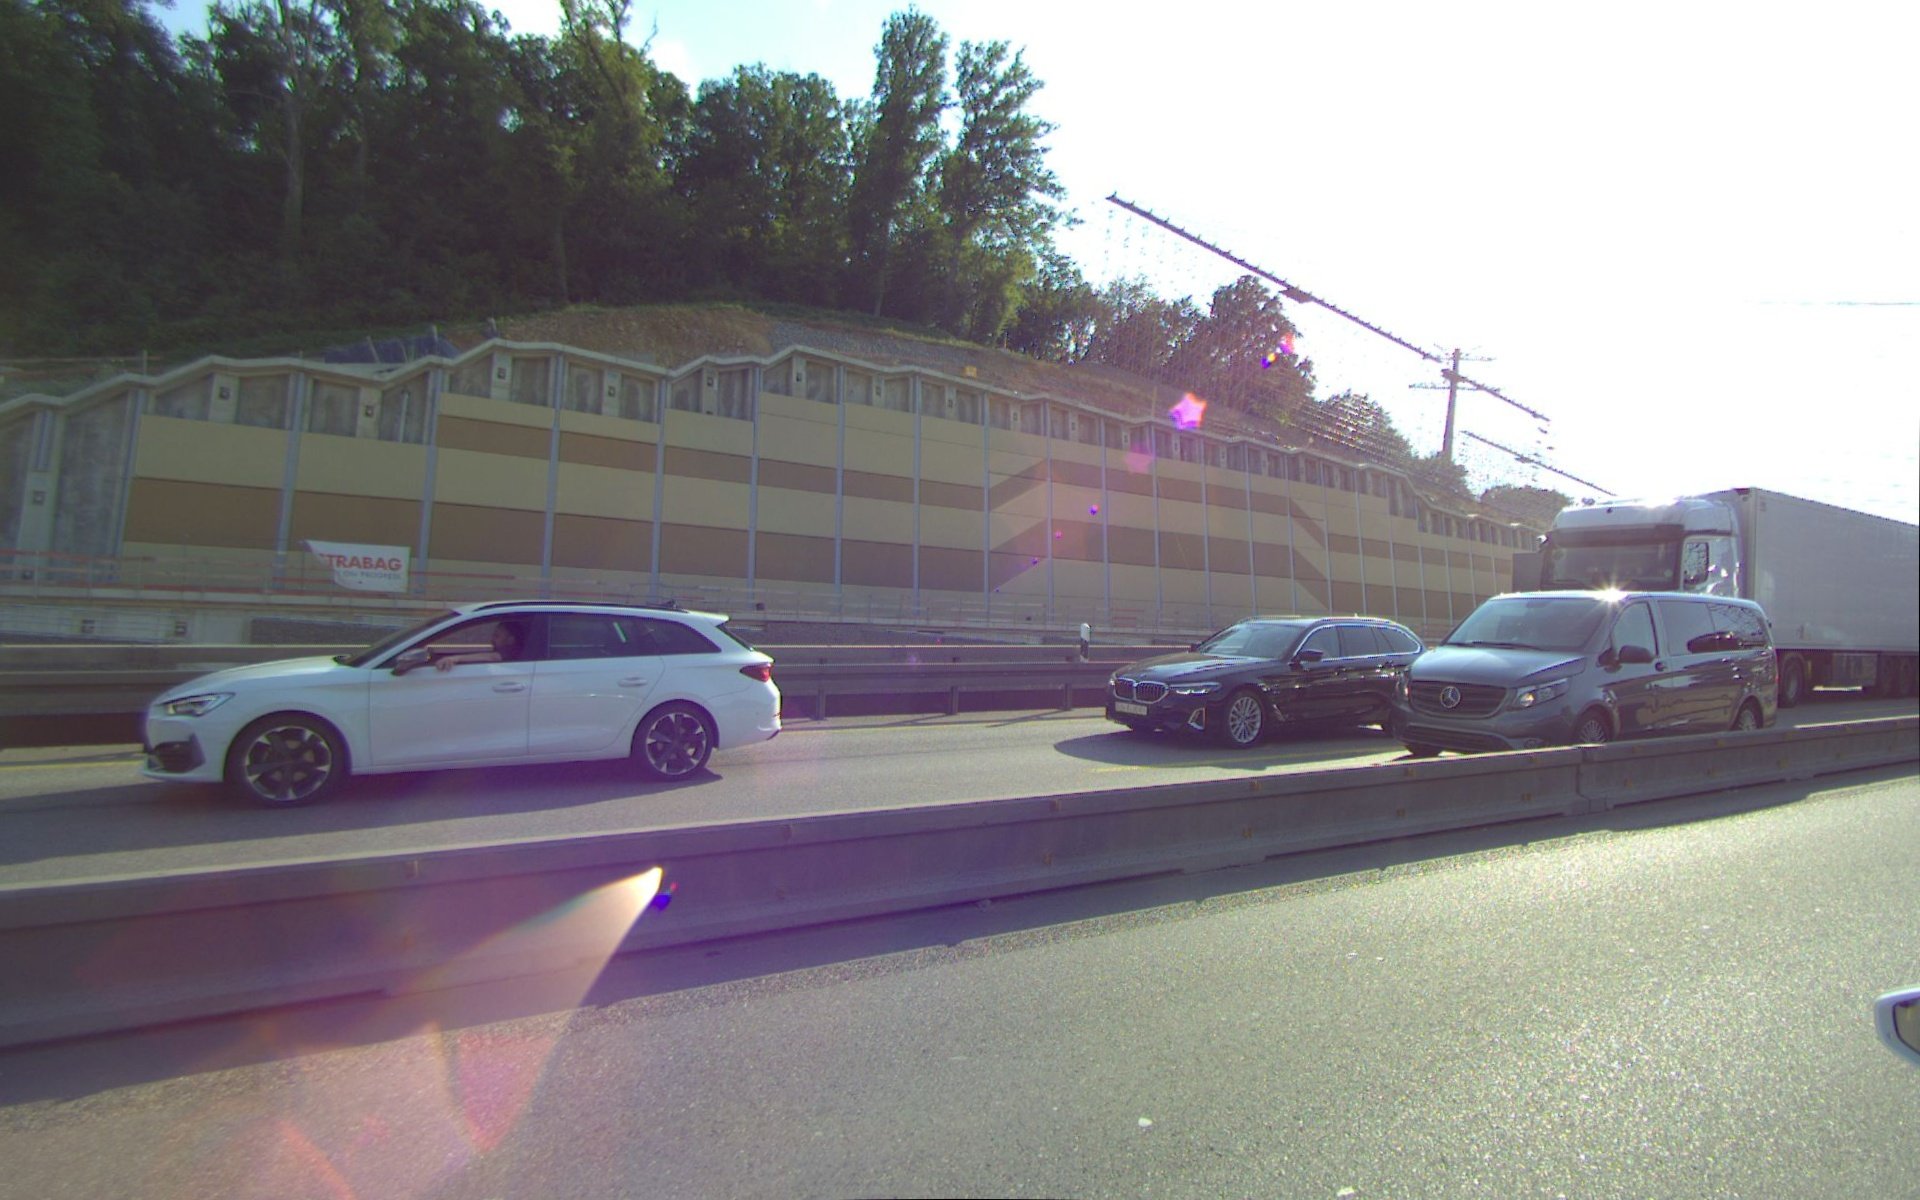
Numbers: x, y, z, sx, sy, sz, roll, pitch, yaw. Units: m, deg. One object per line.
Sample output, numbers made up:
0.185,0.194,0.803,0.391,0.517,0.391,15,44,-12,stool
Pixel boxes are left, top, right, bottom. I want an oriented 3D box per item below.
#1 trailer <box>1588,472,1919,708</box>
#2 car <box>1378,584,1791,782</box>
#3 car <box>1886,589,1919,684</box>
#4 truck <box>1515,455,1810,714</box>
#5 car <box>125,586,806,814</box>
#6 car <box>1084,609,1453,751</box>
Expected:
19.249,0.017,23.044,13.602,4.274,2.705,2,-1,-33,trailer
7.177,0.756,11.327,5.392,1.796,1.794,0,1,-32,car
30.535,1.095,30.367,6.873,2.726,2.010,1,1,-33,car
13.556,-0.183,19.299,5.622,4.274,2.697,2,-1,-33,truck
-3.747,0.696,8.296,4.556,1.441,1.740,2,0,-30,car
3.932,0.924,12.541,4.659,1.479,1.734,2,-1,-31,car
